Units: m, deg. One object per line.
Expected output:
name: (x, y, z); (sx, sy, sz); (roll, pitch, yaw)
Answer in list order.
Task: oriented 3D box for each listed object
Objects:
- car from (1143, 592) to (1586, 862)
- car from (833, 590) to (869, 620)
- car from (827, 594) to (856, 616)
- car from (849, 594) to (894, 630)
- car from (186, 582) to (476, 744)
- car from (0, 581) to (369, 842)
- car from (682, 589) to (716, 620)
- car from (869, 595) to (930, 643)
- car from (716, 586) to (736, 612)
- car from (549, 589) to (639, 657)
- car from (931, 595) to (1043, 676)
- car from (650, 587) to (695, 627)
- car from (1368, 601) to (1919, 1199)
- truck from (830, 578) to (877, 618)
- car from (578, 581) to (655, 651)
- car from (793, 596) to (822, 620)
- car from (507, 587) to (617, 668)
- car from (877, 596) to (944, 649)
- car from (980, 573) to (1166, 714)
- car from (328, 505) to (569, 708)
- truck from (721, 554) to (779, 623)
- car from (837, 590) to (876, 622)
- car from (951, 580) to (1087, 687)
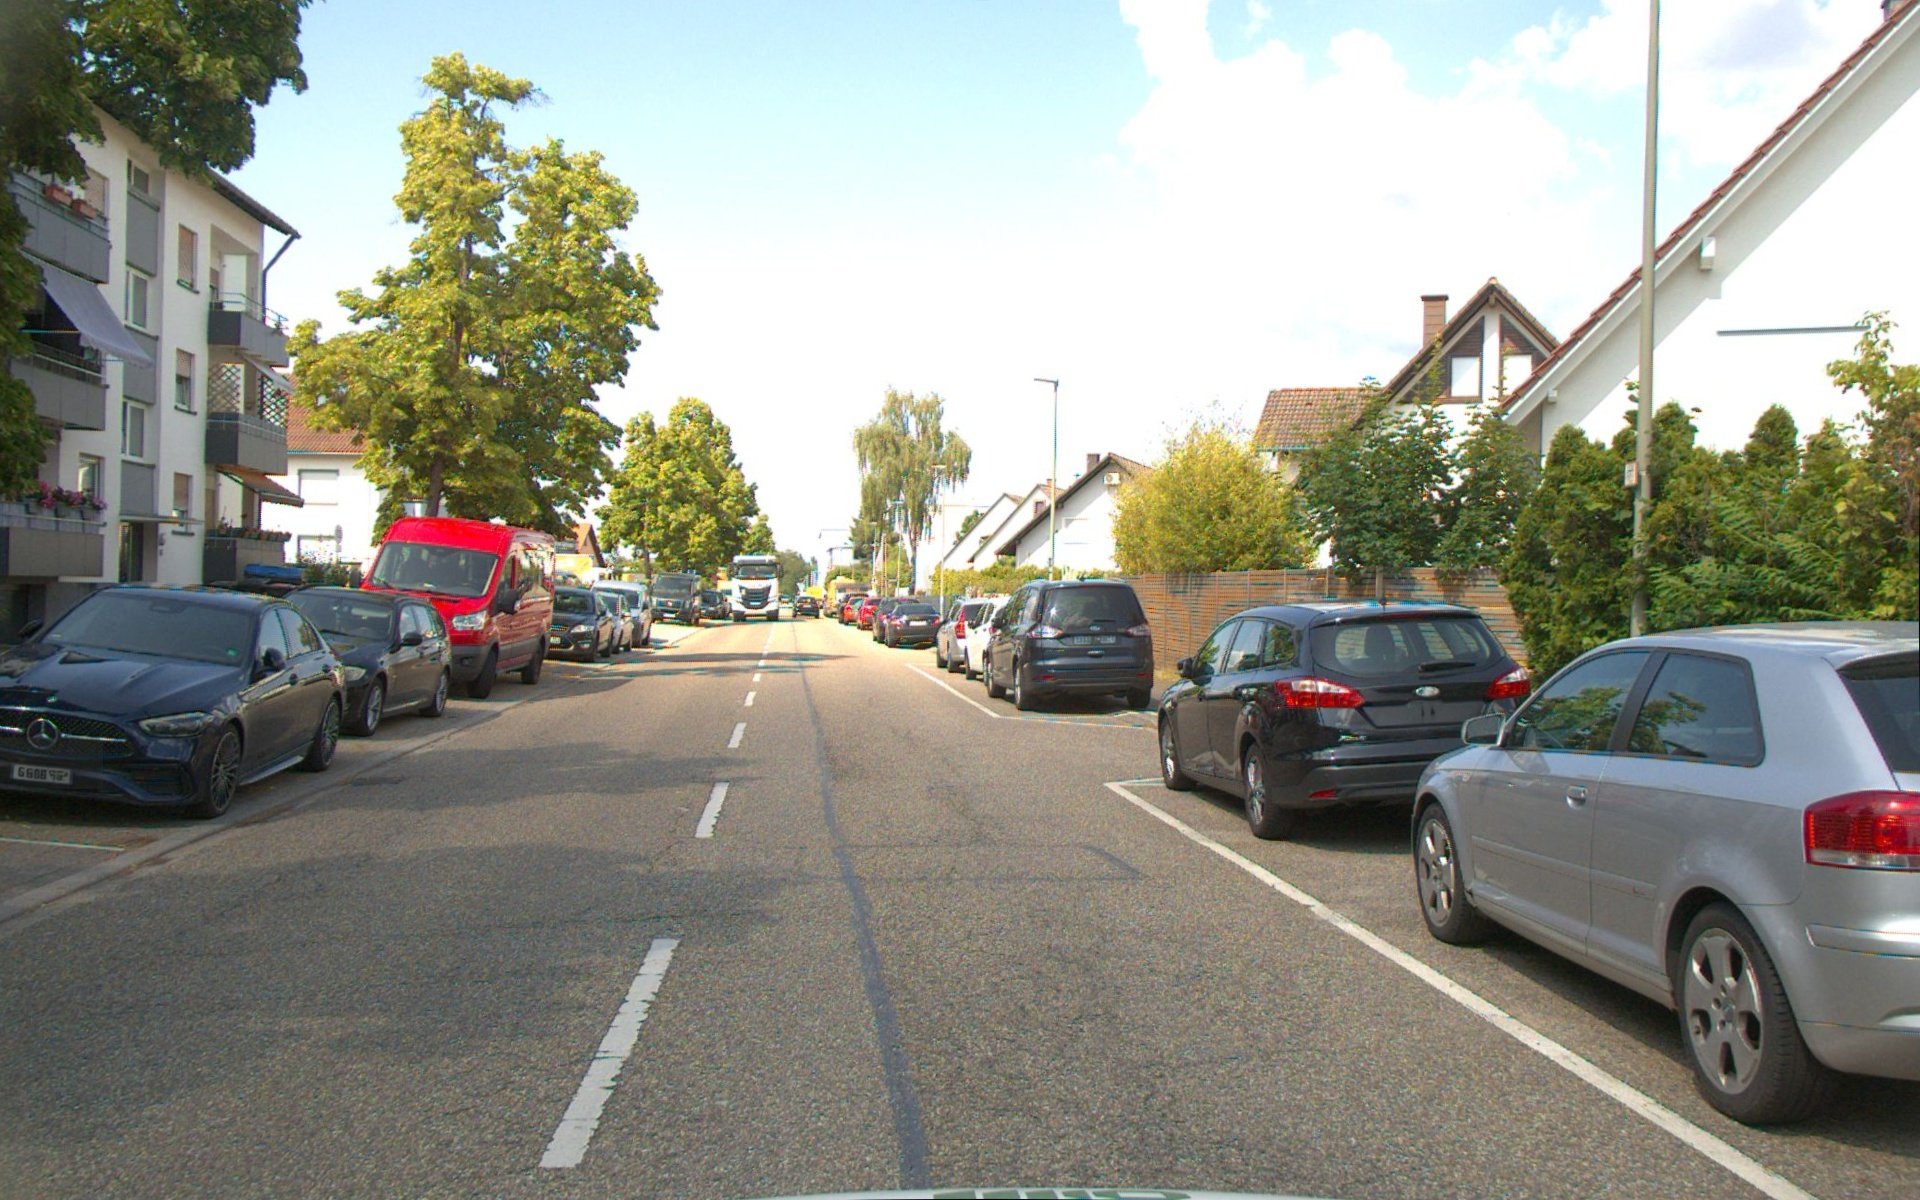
car: (2.592, 0.730, 11.761); (1.703, 1.535, 4.471); (1, 0, -5)
car: (-5.914, 0.266, 89.387); (1.760, 1.550, 4.525); (1, 0, -6)
car: (-8.384, 0.337, 116.490); (1.761, 1.550, 4.524); (1, 0, -7)
car: (-4.030, 0.532, 74.918); (1.760, 1.550, 4.525); (1, 0, -6)
car: (-6.940, 0.645, 18.768); (1.752, 1.482, 4.431); (5, -1, -4)
car: (-5.876, 0.688, 12.373); (1.754, 1.482, 4.427); (5, -1, -8)
car: (-15.282, 0.282, 97.091); (1.754, 1.628, 4.427); (5, -1, -8)
car: (-2.079, 0.616, 56.126); (1.760, 1.550, 3.968); (1, 0, -6)
car: (-20.818, -0.120, 147.331); (1.753, 2.291, 4.764); (0, 0, -8)
car: (-9.188, 0.551, 41.827); (1.754, 1.482, 4.427); (5, -1, -8)
car: (0.495, 0.694, 34.381); (1.761, 1.550, 3.967); (1, 0, -7)
car: (-13.190, 0.324, 75.959); (1.754, 1.628, 4.427); (5, -1, -8)
car: (3.028, 0.768, 6.312); (1.702, 1.483, 4.363); (-1, 0, -2)
truck: (-6.518, -0.108, 100.360); (2.519, 2.300, 6.526); (1, 0, -6)
car: (-9.909, 0.439, 48.013); (1.754, 1.776, 4.427); (5, -1, -8)
car: (-10.246, 0.535, 110.993); (1.761, 1.550, 4.524); (1, 0, -7)
car: (-8.480, 0.559, 35.551); (1.754, 1.482, 4.427); (5, -1, -8)
car: (-1.586, 0.682, 51.612); (1.760, 1.550, 3.968); (1, 0, -6)
car: (1.489, 0.554, 23.523); (1.761, 1.779, 4.576); (1, 0, -7)
car: (-7.532, 0.070, 25.078); (2.024, 2.543, 5.836); (5, 0, -4)
truck: (-11.657, -0.623, 92.840); (2.807, 3.574, 12.339); (1, 0, -6)
car: (-5.335, 0.302, 84.585); (1.760, 1.550, 4.525); (1, 0, -6)
car: (0.986, 0.563, 29.896); (1.761, 1.779, 3.966); (1, 0, -8)
